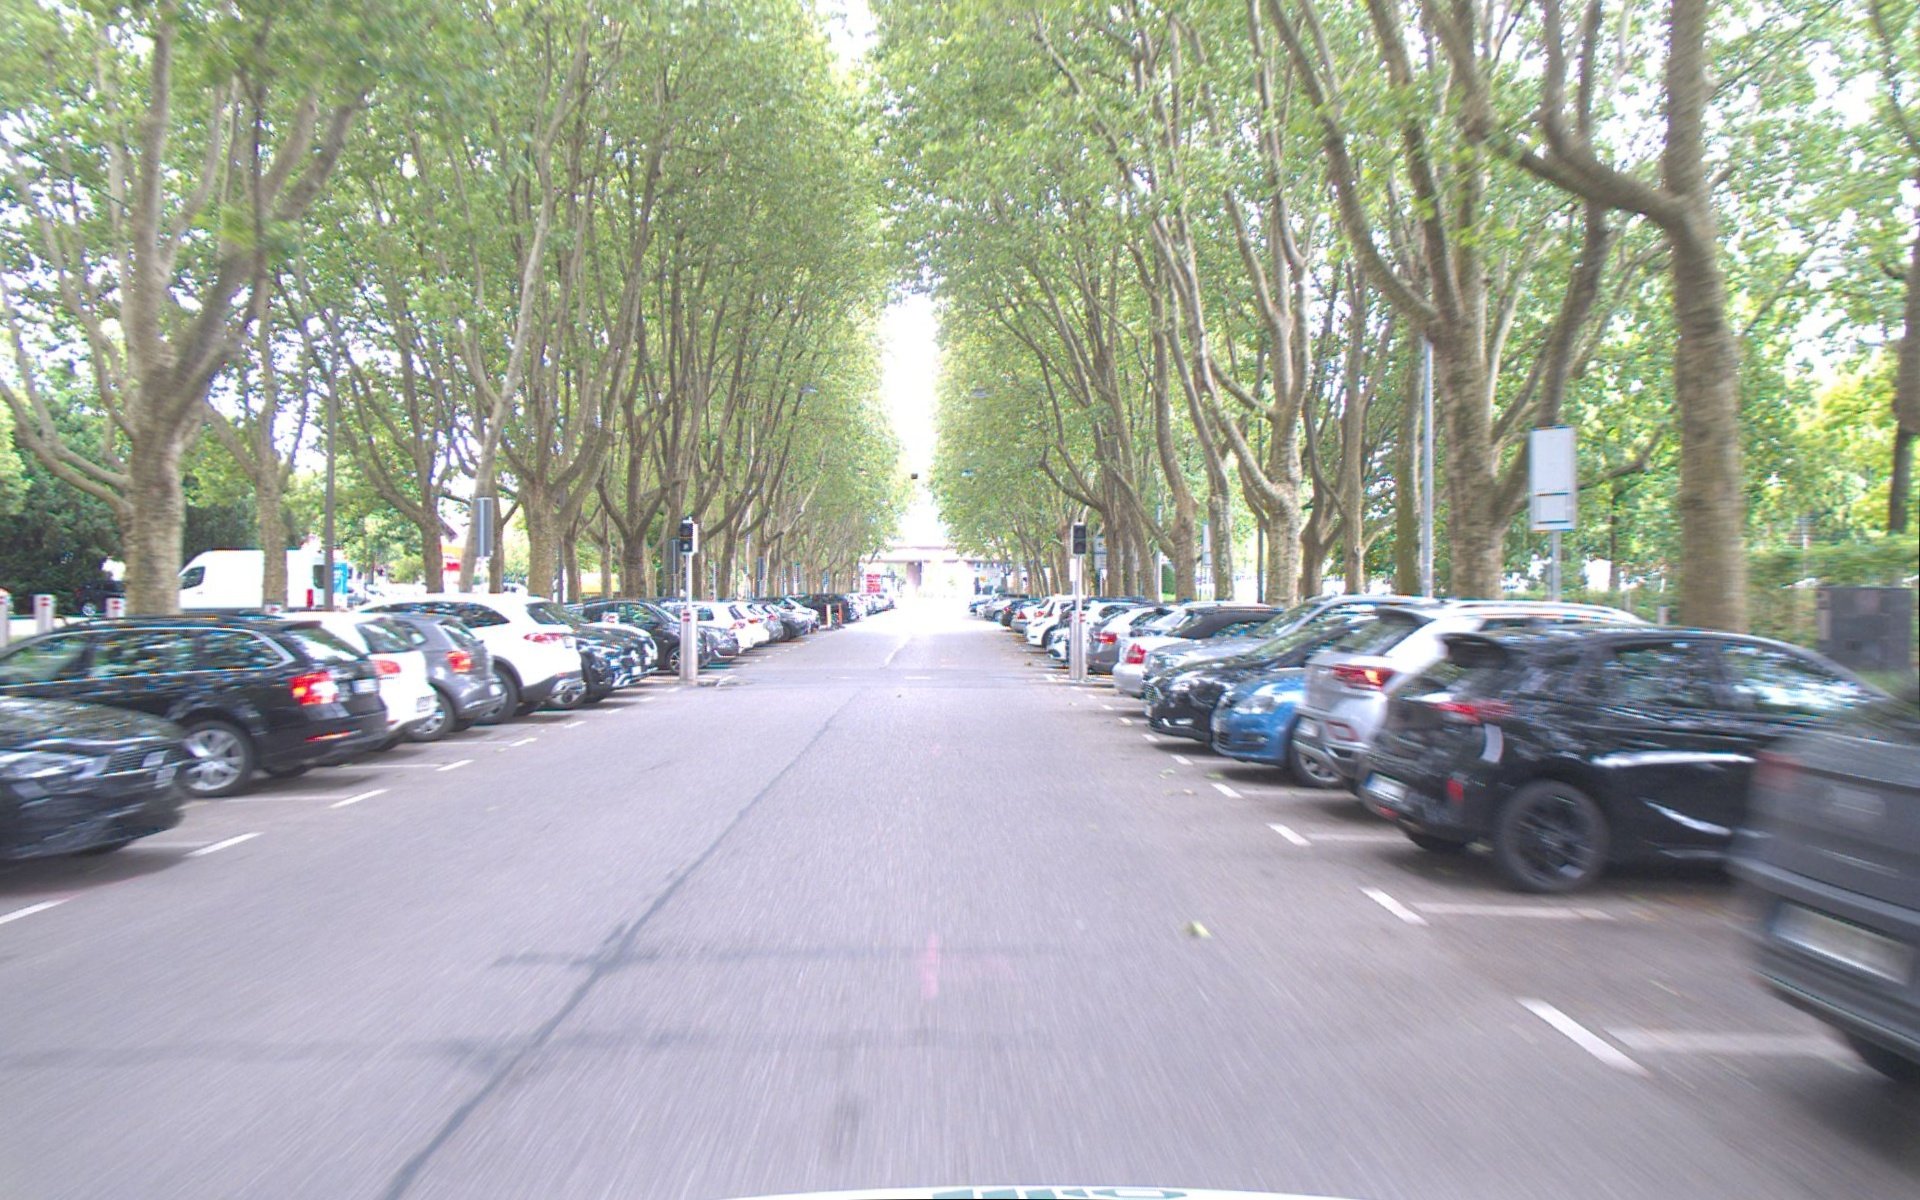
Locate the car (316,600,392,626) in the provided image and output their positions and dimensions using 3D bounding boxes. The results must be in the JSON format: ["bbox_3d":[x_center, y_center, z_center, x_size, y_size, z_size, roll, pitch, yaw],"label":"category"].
[{"bbox_3d":[-34.040,0.725,92.949,3.680,1.373,1.535,1,0,-2],"label":"car"}]

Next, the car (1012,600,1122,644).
[{"bbox_3d":[3.684,0.750,57.365,3.573,1.449,1.984,1,0,-4],"label":"car"}]

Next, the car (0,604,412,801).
[{"bbox_3d":[-6.874,0.838,14.043,3.916,1.497,1.536,-1,0,-4],"label":"car"}]

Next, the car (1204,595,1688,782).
[{"bbox_3d":[4.184,0.740,14.620,3.750,1.481,1.694,1,0,-2],"label":"car"}]

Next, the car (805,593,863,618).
[{"bbox_3d":[-8.807,0.399,115.802,3.733,1.630,1.787,-2,0,4],"label":"car"}]

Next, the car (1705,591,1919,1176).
[{"bbox_3d":[4.437,0.774,4.663,3.907,1.512,1.694,1,0,-2],"label":"car"}]

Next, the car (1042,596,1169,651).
[{"bbox_3d":[4.375,0.706,49.992,3.573,1.546,1.642,1,0,-4],"label":"car"}]

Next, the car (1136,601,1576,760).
[{"bbox_3d":[3.996,0.796,17.088,4.127,1.476,1.610,1,0,-3],"label":"car"}]

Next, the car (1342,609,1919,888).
[{"bbox_3d":[4.308,0.808,9.609,3.750,1.413,1.694,1,0,-2],"label":"car"}]

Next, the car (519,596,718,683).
[{"bbox_3d":[-6.957,0.793,33.936,3.751,1.636,1.693,-1,0,-4],"label":"car"}]

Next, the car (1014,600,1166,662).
[{"bbox_3d":[3.668,0.866,47.067,4.084,1.624,1.853,1,0,-4],"label":"car"}]

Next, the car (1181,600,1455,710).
[{"bbox_3d":[5.231,0.787,24.462,3.698,1.495,1.624,1,0,0],"label":"car"}]

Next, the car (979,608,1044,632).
[{"bbox_3d":[3.324,1.284,106.340,4.087,1.467,1.732,1,0,4],"label":"car"}]

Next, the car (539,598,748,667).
[{"bbox_3d":[-6.934,0.700,36.579,4.313,1.388,1.693,-1,0,-4],"label":"car"}]

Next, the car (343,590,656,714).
[{"bbox_3d":[-6.604,0.726,24.026,3.983,1.636,1.800,-1,0,1],"label":"car"}]

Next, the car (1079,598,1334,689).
[{"bbox_3d":[4.356,0.754,29.607,4.278,1.495,1.623,1,0,-2],"label":"car"}]

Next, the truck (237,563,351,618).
[{"bbox_3d":[-35.614,-0.515,88.487,5.130,2.790,2.206,1,0,-1],"label":"truck"}]

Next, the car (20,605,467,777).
[{"bbox_3d":[-7.147,0.872,16.809,3.680,1.500,1.864,-2,0,-2],"label":"car"}]

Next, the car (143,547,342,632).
[{"bbox_3d":[-23.783,-0.345,54.964,5.668,2.642,2.000,1,0,0],"label":"car"}]

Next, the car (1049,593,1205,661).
[{"bbox_3d":[4.247,0.675,42.459,3.701,1.625,1.819,1,0,-4],"label":"car"}]

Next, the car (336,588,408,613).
[{"bbox_3d":[-34.463,0.036,96.956,3.680,1.373,1.535,1,0,-3],"label":"car"}]

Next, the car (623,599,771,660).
[{"bbox_3d":[-7.015,0.776,44.370,3.751,1.523,1.693,-1,0,-4],"label":"car"}]

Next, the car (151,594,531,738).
[{"bbox_3d":[-7.066,0.723,19.171,3.751,1.497,1.693,-1,0,-4],"label":"car"}]

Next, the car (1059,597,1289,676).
[{"bbox_3d":[4.376,0.742,34.252,4.521,1.495,1.649,1,0,-1],"label":"car"}]

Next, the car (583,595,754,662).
[{"bbox_3d":[-6.841,0.652,39.103,3.751,1.455,1.693,-1,0,-4],"label":"car"}]

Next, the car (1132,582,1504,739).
[{"bbox_3d":[4.167,0.691,19.657,4.029,1.699,1.694,1,0,-1],"label":"car"}]

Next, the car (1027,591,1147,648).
[{"bbox_3d":[3.987,0.614,52.202,3.573,1.696,1.518,1,0,-4],"label":"car"}]

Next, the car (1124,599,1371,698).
[{"bbox_3d":[4.634,0.767,27.003,3.699,1.495,1.667,1,0,-1],"label":"car"}]

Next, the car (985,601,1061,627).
[{"bbox_3d":[3.791,0.824,99.041,4.478,1.512,2.001,1,0,4],"label":"car"}]

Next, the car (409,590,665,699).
[{"bbox_3d":[-6.872,0.703,27.207,3.751,1.636,1.833,-1,0,-4],"label":"car"}]

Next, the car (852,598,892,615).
[{"bbox_3d":[-8.536,0.626,160.216,3.734,1.542,1.686,1,0,2],"label":"car"}]

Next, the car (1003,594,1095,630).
[{"bbox_3d":[3.862,0.505,72.078,3.839,1.477,1.555,1,0,-2],"label":"car"}]

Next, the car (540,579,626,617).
[{"bbox_3d":[-23.739,-0.147,104.244,4.975,2.271,1.535,1,0,-2],"label":"car"}]

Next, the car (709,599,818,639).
[{"bbox_3d":[-7.863,0.762,66.504,4.247,1.455,1.693,-1,0,-4],"label":"car"}]

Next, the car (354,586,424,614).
[{"bbox_3d":[-34.543,-0.001,100.078,3.680,1.617,1.535,1,0,-3],"label":"car"}]

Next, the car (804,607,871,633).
[{"bbox_3d":[-7.351,1.197,99.242,3.733,1.377,1.663,-2,0,4],"label":"car"}]

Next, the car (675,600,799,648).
[{"bbox_3d":[-7.274,0.783,54.179,3.747,1.455,1.695,-1,0,3],"label":"car"}]

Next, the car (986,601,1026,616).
[{"bbox_3d":[4.999,0.929,180.774,4.287,1.549,1.731,1,0,0],"label":"car"}]

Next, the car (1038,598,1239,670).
[{"bbox_3d":[3.951,0.748,36.975,4.212,1.495,1.622,1,0,-4],"label":"car"}]

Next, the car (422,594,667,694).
[{"bbox_3d":[-7.353,0.764,29.581,3.963,1.636,1.693,-1,-1,-4],"label":"car"}]

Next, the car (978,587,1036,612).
[{"bbox_3d":[3.530,-0.039,124.914,4.289,1.782,1.730,1,0,-3],"label":"car"}]

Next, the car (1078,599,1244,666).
[{"bbox_3d":[4.795,0.759,39.789,3.701,1.495,1.622,1,0,-4],"label":"car"}]

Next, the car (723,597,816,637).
[{"bbox_3d":[-7.944,0.694,69.244,3.751,1.582,1.693,-1,0,-4],"label":"car"}]

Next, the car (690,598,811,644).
[{"bbox_3d":[-7.108,0.711,56.408,3.941,1.455,1.693,-1,0,-4],"label":"car"}]

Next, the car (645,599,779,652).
[{"bbox_3d":[-7.374,0.751,49.493,3.750,1.455,1.801,-1,0,-2],"label":"car"}]

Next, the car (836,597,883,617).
[{"bbox_3d":[-8.475,0.609,139.720,3.733,1.542,1.687,-2,0,4],"label":"car"}]

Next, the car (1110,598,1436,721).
[{"bbox_3d":[4.122,0.769,22.215,4.030,1.495,1.694,1,0,-1],"label":"car"}]

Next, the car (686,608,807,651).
[{"bbox_3d":[-7.912,1.103,61.648,4.314,1.455,1.693,-1,0,-4],"label":"car"}]

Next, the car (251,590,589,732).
[{"bbox_3d":[-6.912,0.751,21.514,3.751,1.656,1.951,-1,0,-4],"label":"car"}]

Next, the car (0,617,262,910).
[{"bbox_3d":[-6.586,0.904,9.516,4.355,1.478,1.775,-2,0,4],"label":"car"}]

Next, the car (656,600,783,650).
[{"bbox_3d":[-7.519,0.775,51.962,3.751,1.455,1.693,-1,0,-4],"label":"car"}]

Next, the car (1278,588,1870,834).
[{"bbox_3d":[4.429,0.771,12.288,3.750,1.635,1.694,1,0,-2],"label":"car"}]

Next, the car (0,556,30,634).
[{"bbox_3d":[-34.388,-0.233,54.814,5.880,2.571,2.000,1,0,-1],"label":"car"}]

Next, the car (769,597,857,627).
[{"bbox_3d":[-7.857,0.633,88.703,4.571,1.452,1.999,-2,0,-2],"label":"car"}]
